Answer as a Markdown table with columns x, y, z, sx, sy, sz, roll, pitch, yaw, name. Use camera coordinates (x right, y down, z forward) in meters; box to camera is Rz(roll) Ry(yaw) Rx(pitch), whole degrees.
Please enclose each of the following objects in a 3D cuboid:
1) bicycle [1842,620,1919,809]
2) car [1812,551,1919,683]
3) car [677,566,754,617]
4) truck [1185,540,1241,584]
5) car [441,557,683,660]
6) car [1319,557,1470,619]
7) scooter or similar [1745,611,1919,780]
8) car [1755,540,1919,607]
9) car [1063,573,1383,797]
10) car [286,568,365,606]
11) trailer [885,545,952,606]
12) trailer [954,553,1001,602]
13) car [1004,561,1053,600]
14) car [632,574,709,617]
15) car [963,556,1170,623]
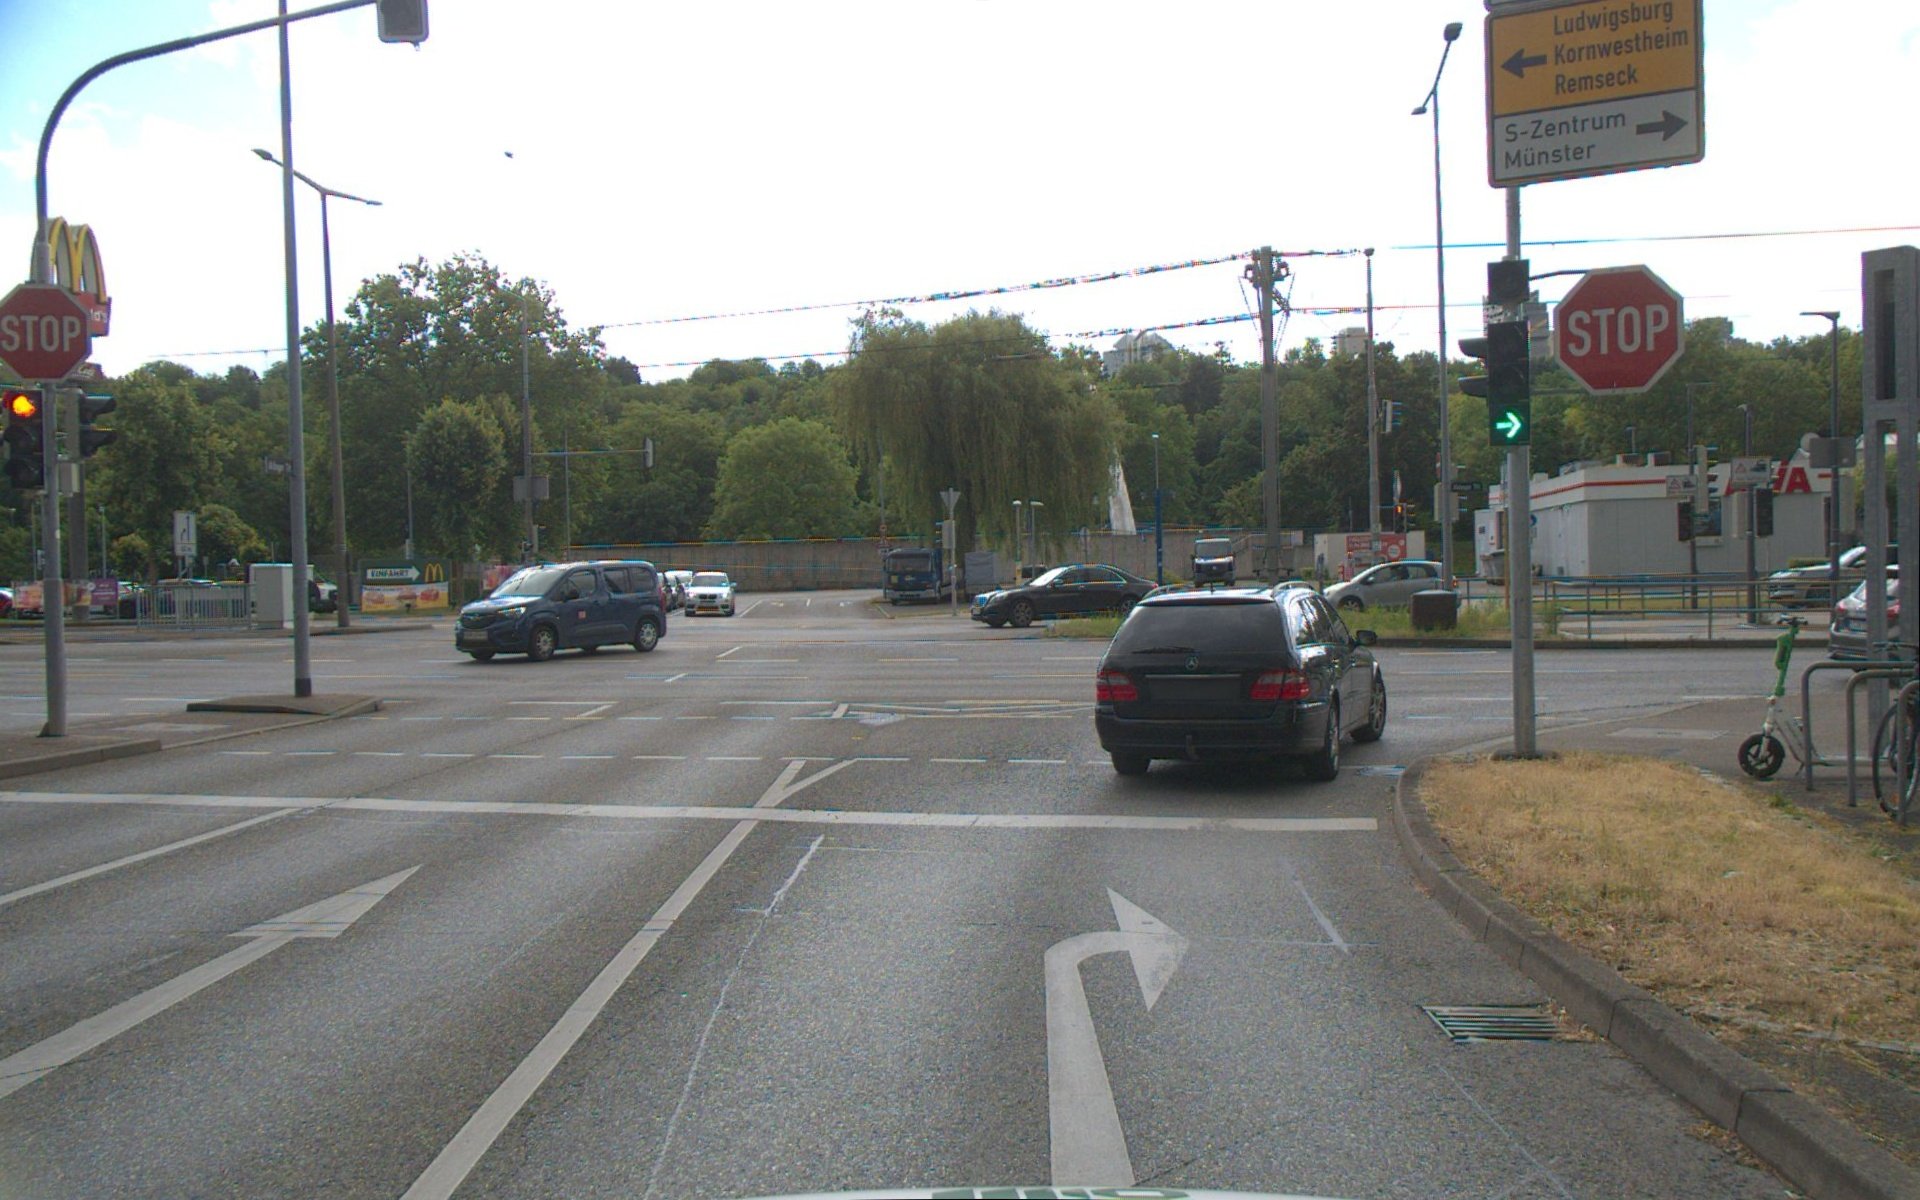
| x | y | z | sx | sy | sz | roll | pitch | yaw | name |
| --- | --- | --- | --- | --- | --- | --- | --- | --- | --- |
| 6.507 | 0.697 | 10.414 | 1.654 | 1.130 | 0.479 | -1 | 2 | 0 | bicycle |
| 13.095 | 0.147 | 20.694 | 4.056 | 1.556 | 1.730 | -1 | 1 | -7 | car |
| -9.595 | -0.369 | 65.296 | 1.951 | 1.892 | 4.004 | -1 | 1 | 8 | car |
| 12.359 | -1.828 | 81.147 | 2.188 | 2.049 | 5.243 | -2 | 0 | 4 | truck |
| -7.492 | 0.105 | 31.557 | 1.575 | 1.805 | 4.541 | 0 | 1 | 36 | car |
| 11.475 | -0.324 | 43.823 | 3.689 | 1.534 | 1.706 | -1 | 1 | 9 | car |
| 6.350 | 0.686 | 11.982 | 1.156 | 1.190 | 0.294 | -1 | 1 | 7 | scooter or similar |
| 23.220 | -0.690 | 42.363 | 4.818 | 1.628 | 2.017 | -1 | 1 | 13 | car |
| 2.417 | 0.572 | 14.103 | 1.785 | 1.535 | 4.575 | -1 | 1 | 21 | car |
| -37.378 | -0.751 | 97.523 | 3.910 | 2.049 | 1.998 | -2 | 0 | -5 | car |
| -1.869 | -1.126 | 76.734 | 2.302 | 2.627 | 4.924 | -2 | 0 | 8 | trailer |
| 0.856 | -1.049 | 78.807 | 1.952 | 2.222 | 4.002 | -2 | 0 | 4 | trailer |
| 3.250 | -0.945 | 77.975 | 1.951 | 1.780 | 4.004 | -1 | 1 | 8 | car |
| -11.874 | -0.209 | 68.104 | 1.951 | 1.668 | 4.004 | -1 | 1 | 8 | car |
| 2.713 | -0.288 | 41.986 | 4.975 | 1.550 | 1.734 | -2 | 1 | -19 | car |
